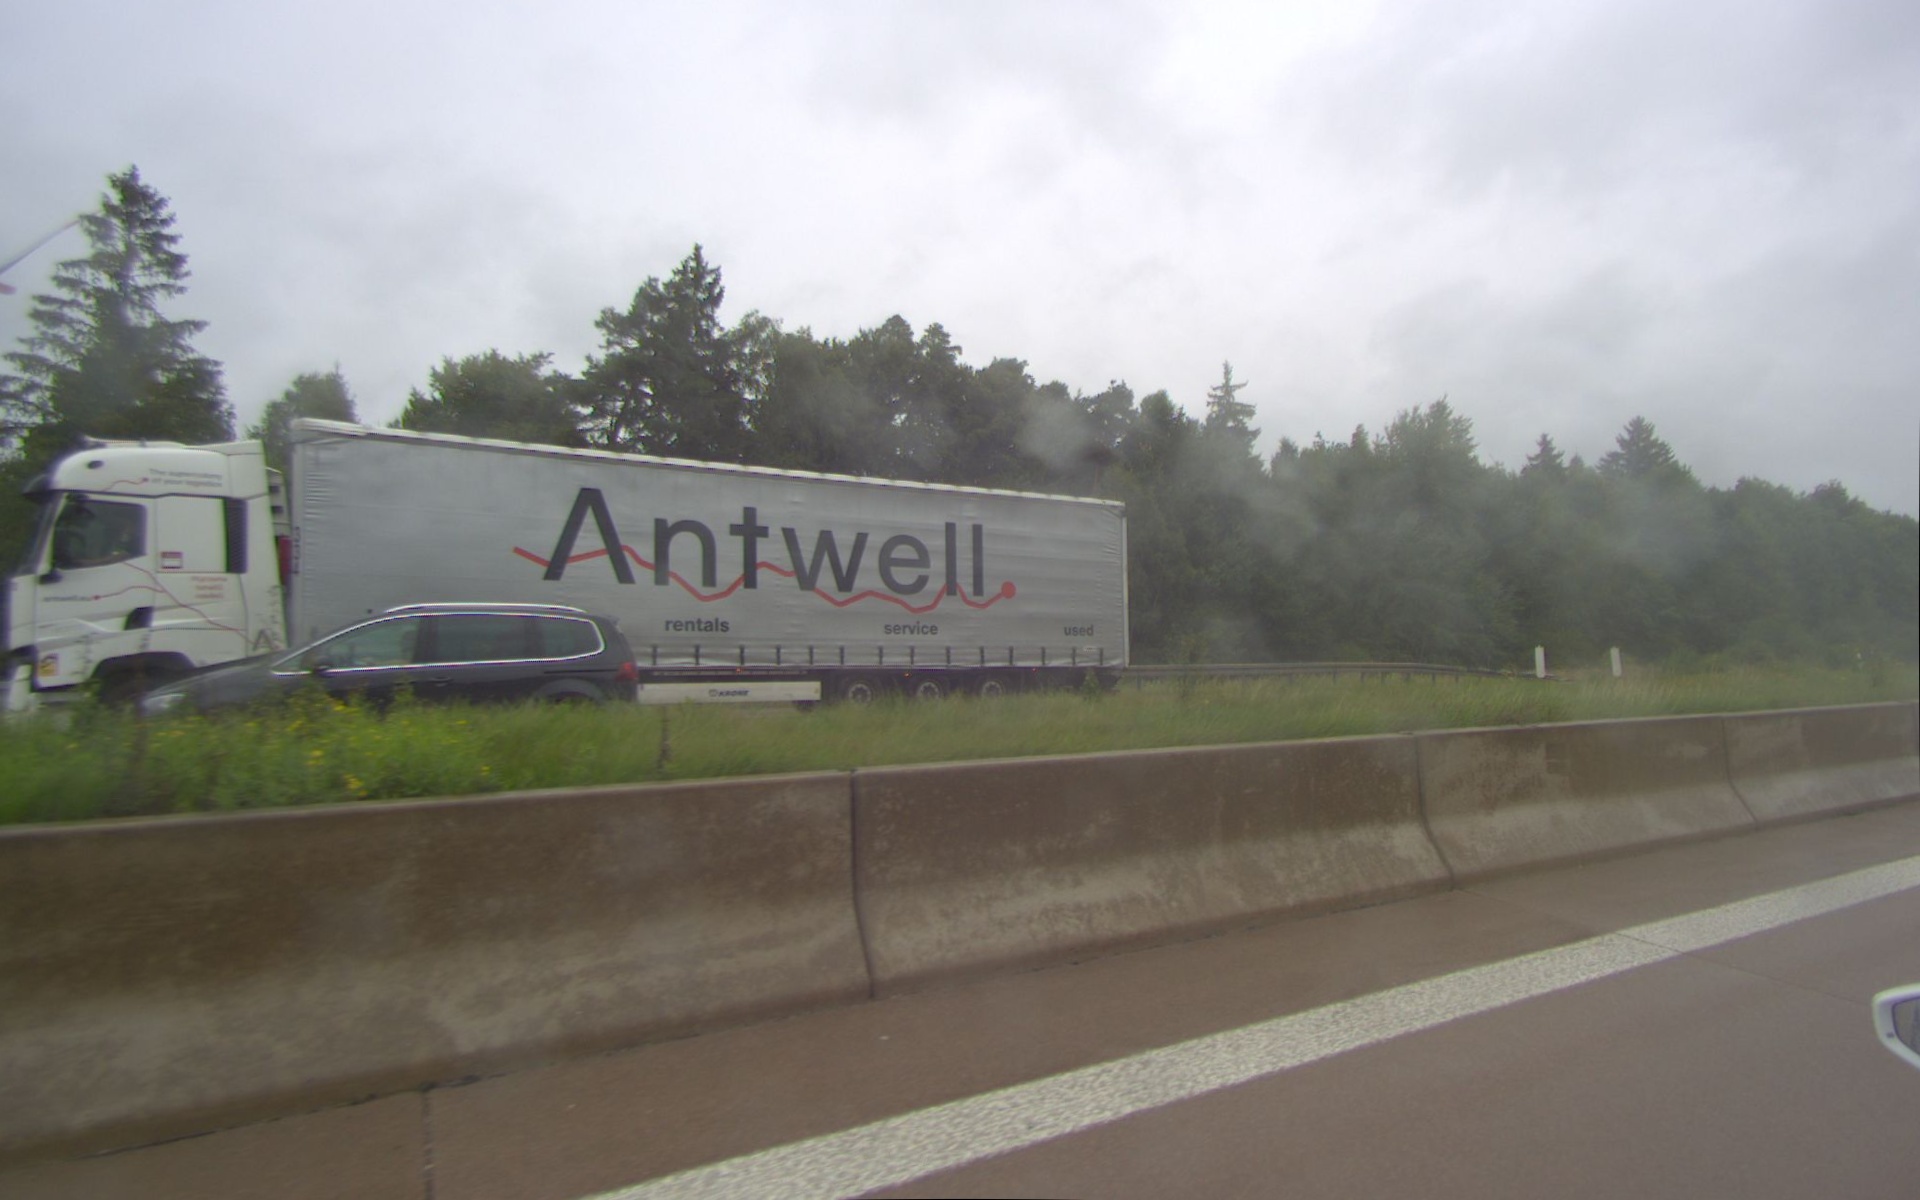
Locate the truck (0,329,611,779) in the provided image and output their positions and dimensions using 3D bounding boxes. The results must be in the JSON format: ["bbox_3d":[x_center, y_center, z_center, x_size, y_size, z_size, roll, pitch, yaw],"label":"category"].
[{"bbox_3d":[-9.011,-0.435,14.031,7.170,4.935,3.662,2,0,-30],"label":"truck"}]

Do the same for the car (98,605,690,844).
[{"bbox_3d":[-5.812,1.143,10.984,5.092,2.040,2.295,2,0,-31],"label":"car"}]

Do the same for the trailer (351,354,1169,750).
[{"bbox_3d":[-2.741,-0.474,17.771,13.520,5.019,3.737,2,0,-30],"label":"trailer"}]
